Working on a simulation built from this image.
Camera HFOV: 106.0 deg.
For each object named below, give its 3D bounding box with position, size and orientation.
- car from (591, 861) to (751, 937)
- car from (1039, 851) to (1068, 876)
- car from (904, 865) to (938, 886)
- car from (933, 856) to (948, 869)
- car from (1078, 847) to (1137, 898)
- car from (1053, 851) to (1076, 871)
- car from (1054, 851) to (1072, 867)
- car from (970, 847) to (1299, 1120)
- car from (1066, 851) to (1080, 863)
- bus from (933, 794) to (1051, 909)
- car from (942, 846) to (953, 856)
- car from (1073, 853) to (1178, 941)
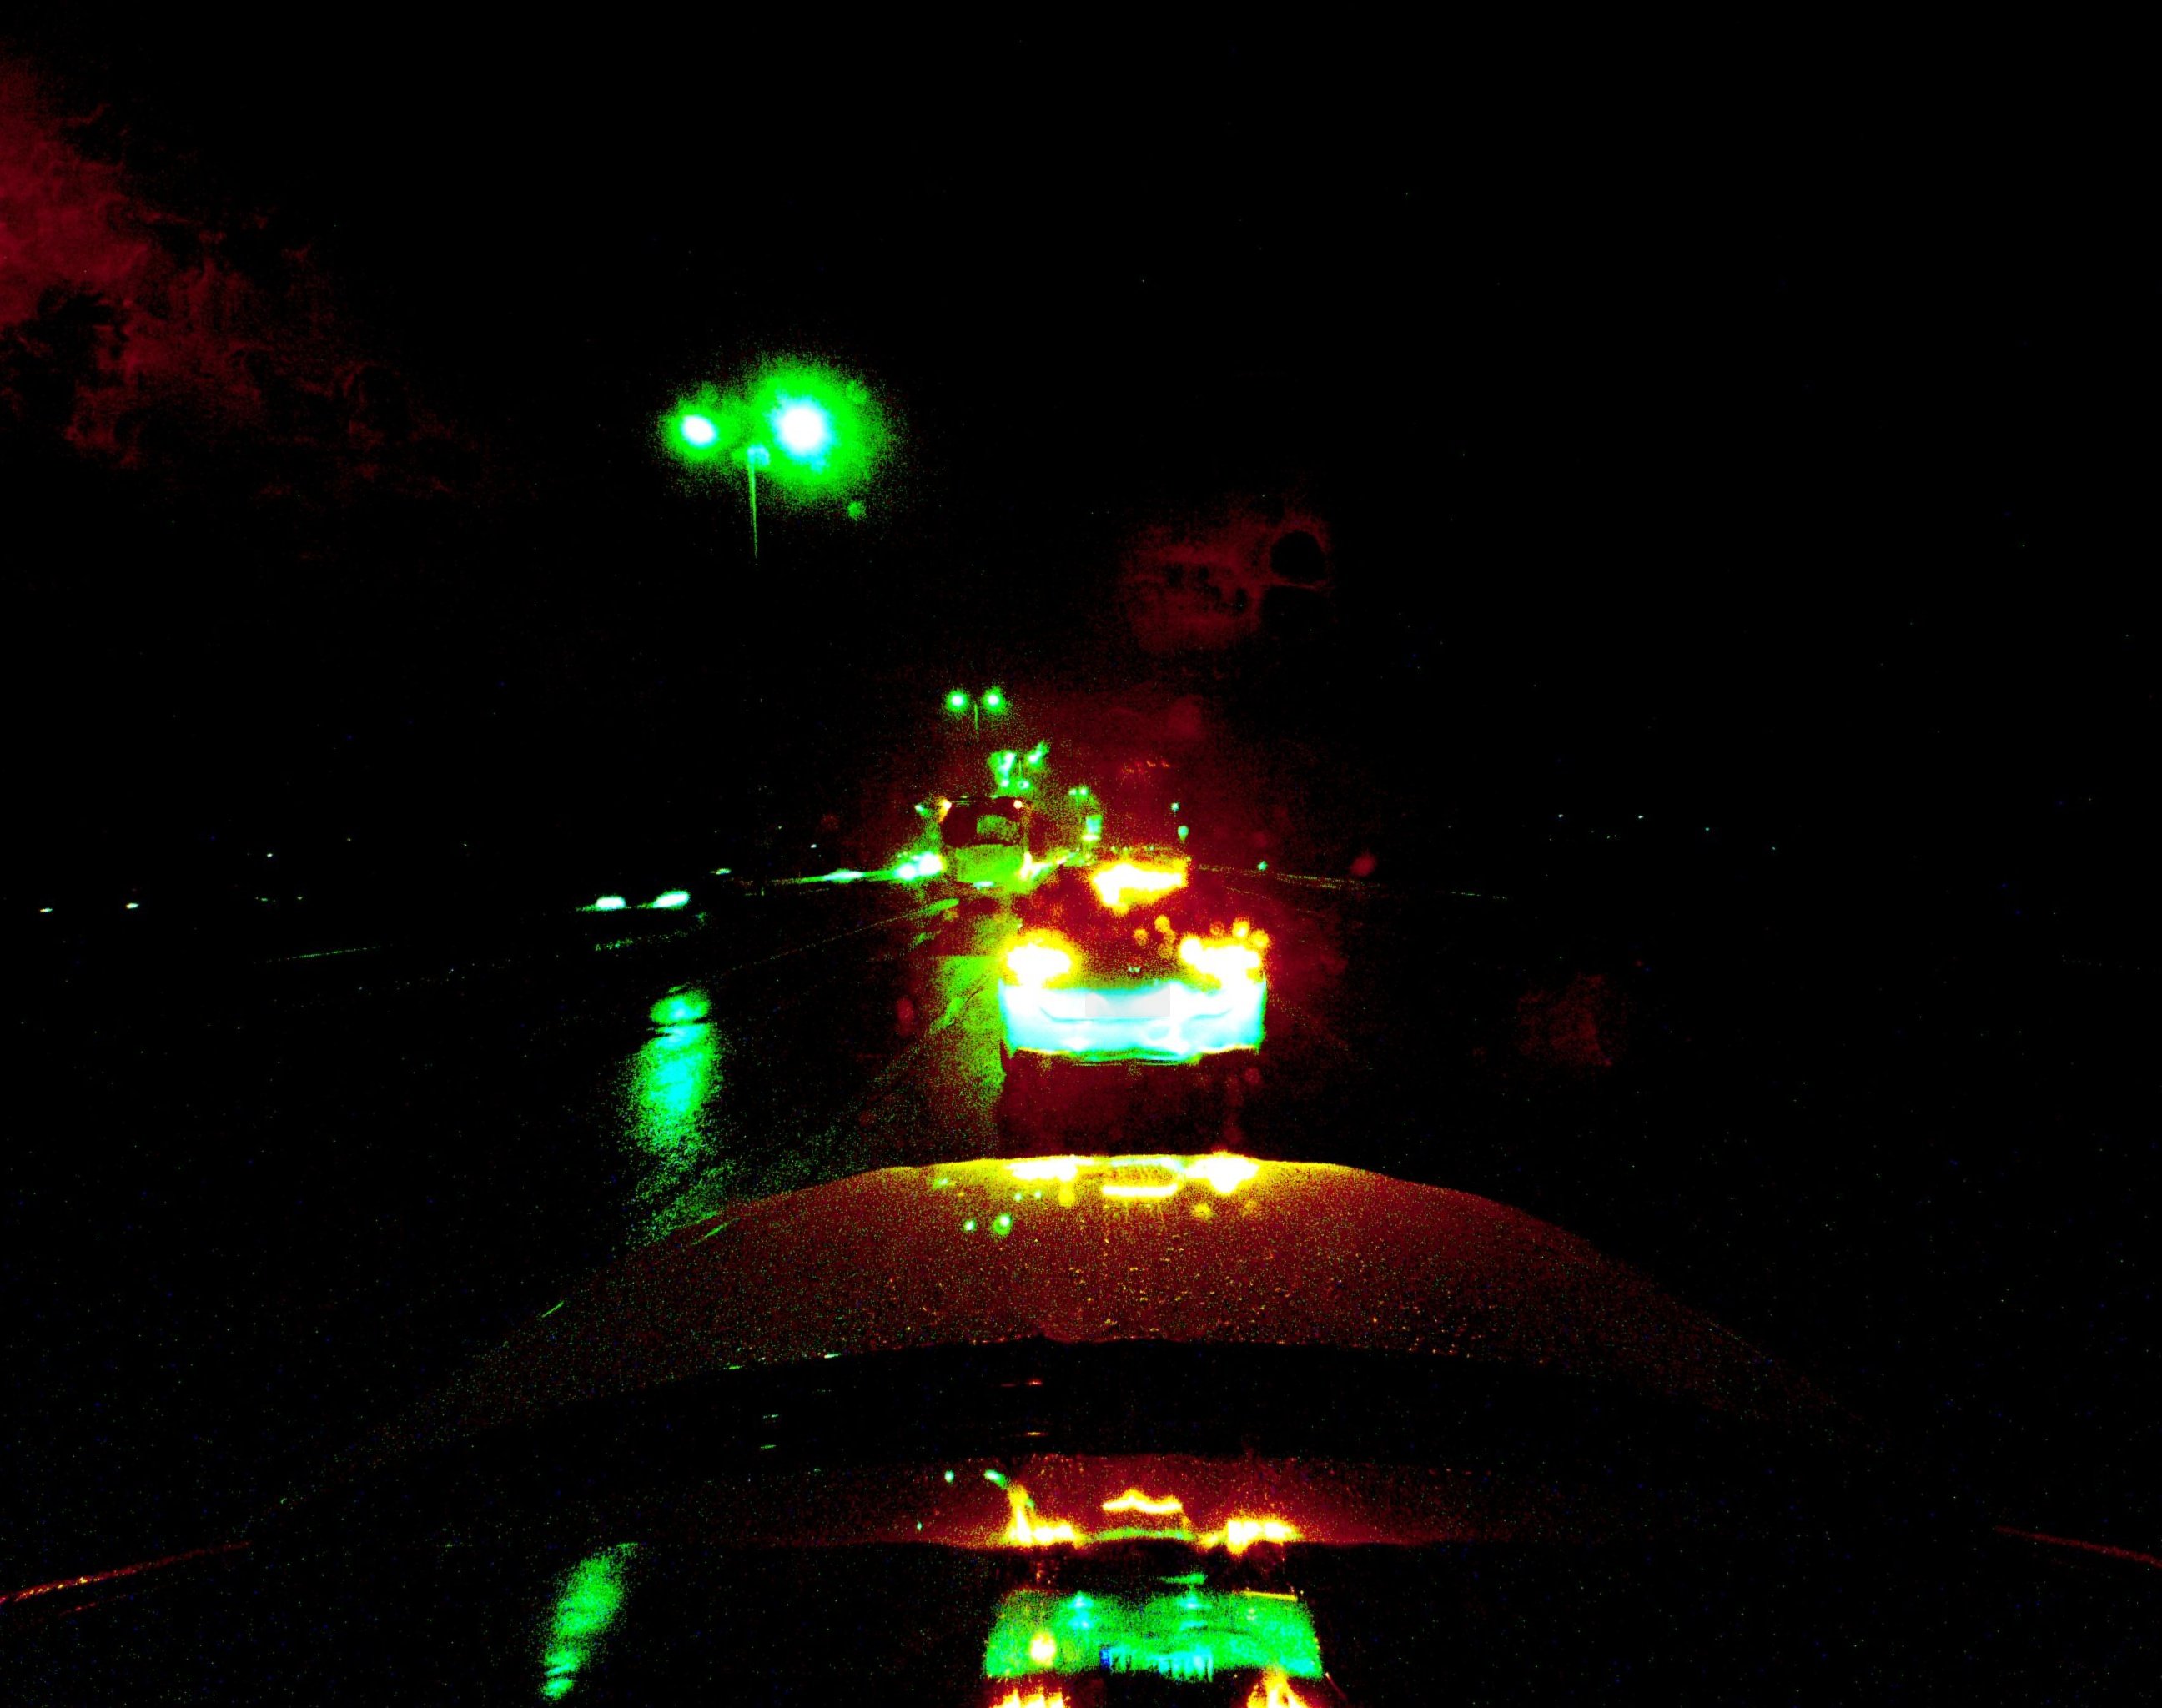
[{"bbox_3d":[-9.786,1.000,19.811,1.745,1.552,4.011,-2,0,1],"label":"car"},{"bbox_3d":[-1.789,0.618,53.535,1.774,1.543,3.873,-1,0,-1],"label":"car"},{"bbox_3d":[-12.598,1.668,64.401,1.604,1.381,4.166,-4,0,2],"label":"car"},{"bbox_3d":[-22.860,1.364,132.852,1.990,2.014,3.993,0,-1,-5],"label":"car"},{"bbox_3d":[0.836,0.563,27.318,1.735,1.565,3.774,-1,0,-2],"label":"car"},{"bbox_3d":[-1.357,0.565,68.232,1.774,1.543,3.874,-1,0,0],"label":"car"},{"bbox_3d":[-1.894,0.517,85.159,1.775,1.543,3.872,-1,0,-2],"label":"car"},{"bbox_3d":[0.372,0.721,6.886,1.815,1.484,4.569,2,0,2],"label":"car"},{"bbox_3d":[-1.131,0.389,112.617,1.773,1.543,3.876,-1,0,1],"label":"car"},{"bbox_3d":[-2.541,-0.070,26.116,2.806,3.024,8.685,-1,0,0],"label":"bus"},{"bbox_3d":[-27.853,-0.604,170.184,2.122,2.014,3.984,0,-1,-12],"label":"car"},{"bbox_3d":[0.745,0.715,15.955,1.726,1.449,4.724,-1,0,0],"label":"car"}]
